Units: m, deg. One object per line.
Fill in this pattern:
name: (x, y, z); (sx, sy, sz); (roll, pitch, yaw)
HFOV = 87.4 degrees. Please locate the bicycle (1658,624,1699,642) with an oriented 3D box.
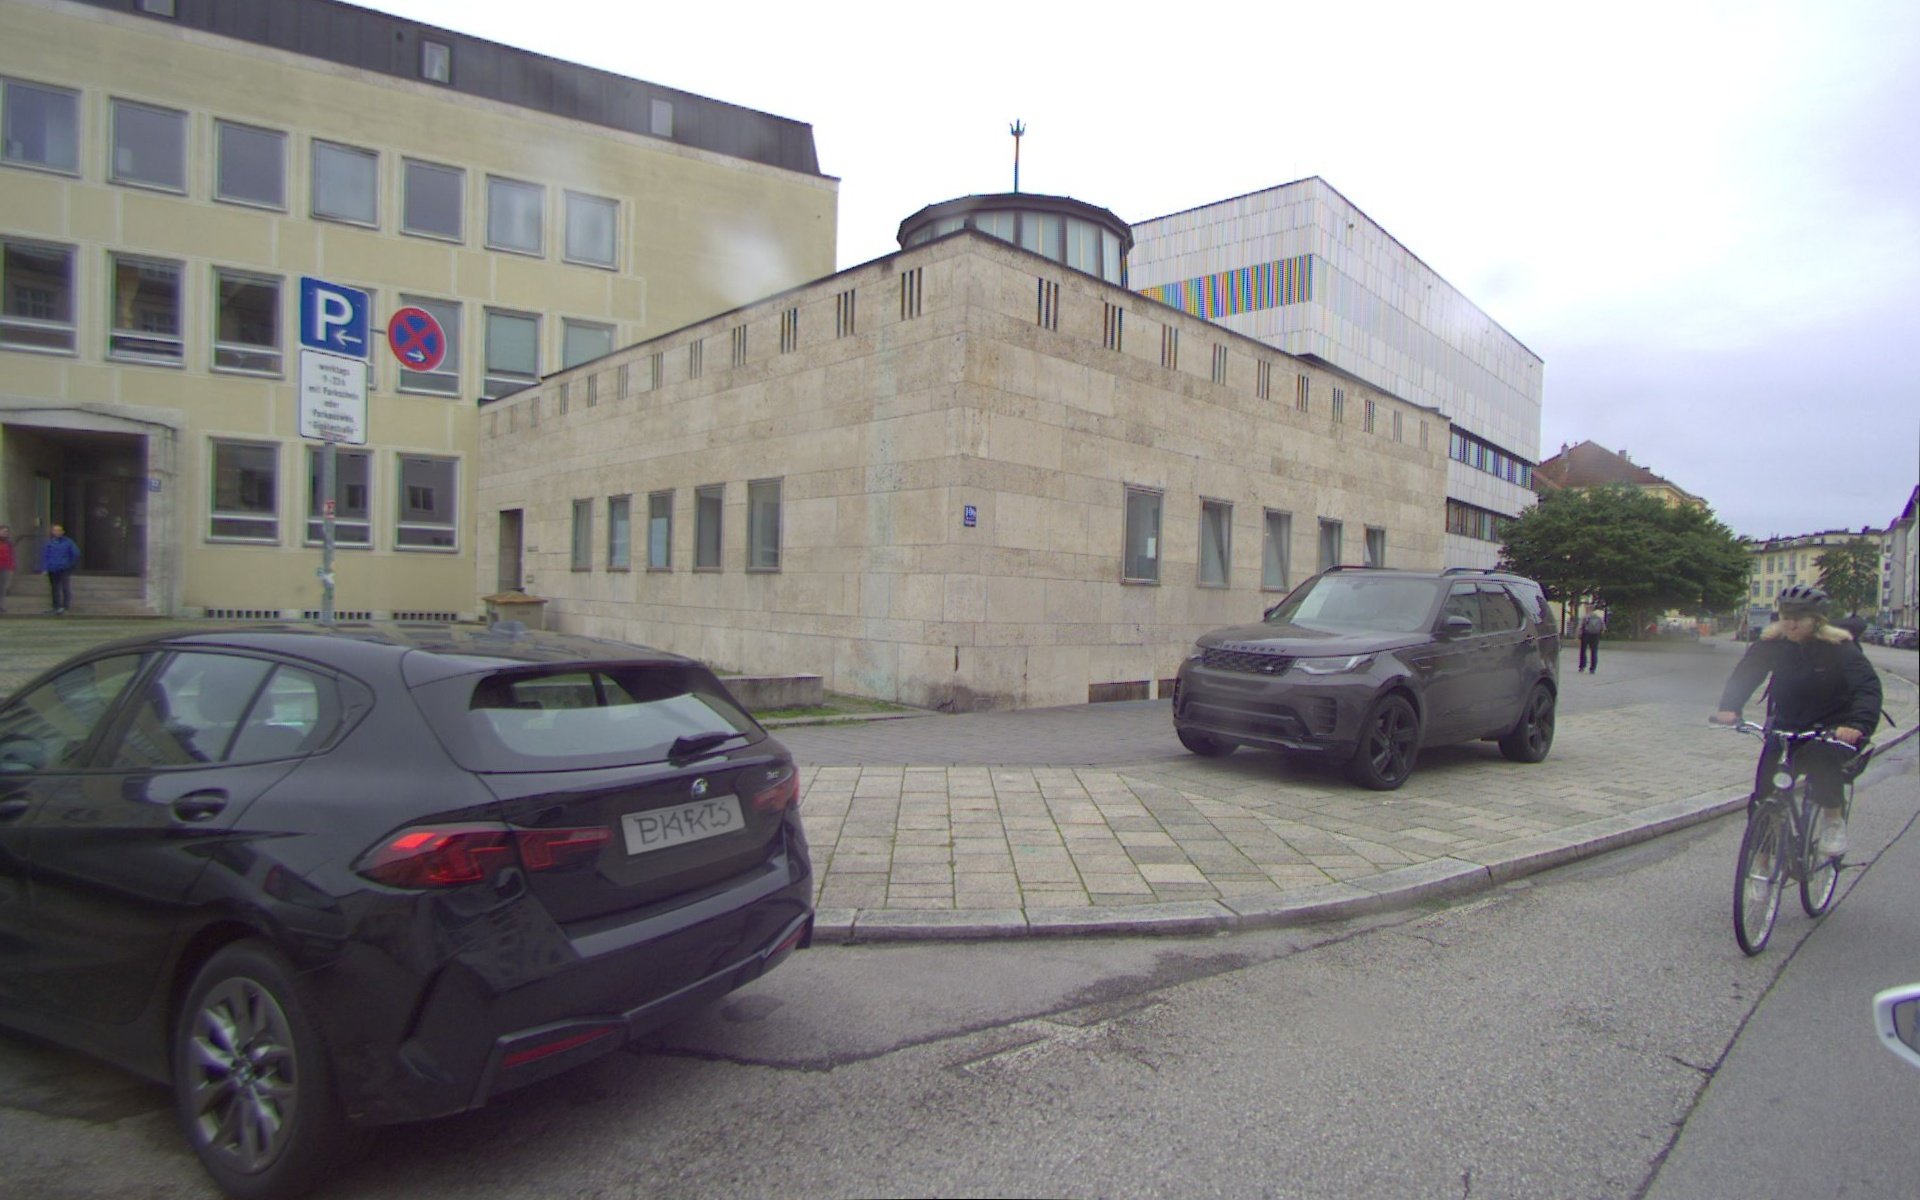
bicycle: (52.057, 2.399, 72.829); (0.577, 1.150, 2.287); (0, 3, -43)

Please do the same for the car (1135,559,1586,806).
car: (3.999, 0.604, 9.598); (4.775, 1.795, 1.977); (1, 1, -40)

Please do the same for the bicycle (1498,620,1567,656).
bicycle: (20.512, 1.353, 36.033); (2.020, 1.126, 0.614); (4, 3, 39)

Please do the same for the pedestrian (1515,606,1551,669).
pedestrian: (15.286, 0.999, 26.820); (0.632, 1.623, 0.606); (3, 2, 17)

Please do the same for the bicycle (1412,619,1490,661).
bicycle: (15.076, 1.207, 30.870); (0.612, 1.126, 2.025); (0, 3, -44)

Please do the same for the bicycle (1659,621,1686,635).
bicycle: (47.352, 1.855, 66.749); (1.356, 0.874, 0.437); (4, 3, 43)

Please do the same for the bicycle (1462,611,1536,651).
bicycle: (17.444, 0.998, 32.525); (2.018, 1.126, 0.614); (4, 3, 35)

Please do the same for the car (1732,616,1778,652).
car: (63.511, 2.726, 80.354); (2.389, 2.751, 5.935); (1, -1, 34)

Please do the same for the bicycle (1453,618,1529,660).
bicycle: (16.640, 1.205, 31.506); (2.018, 1.126, 0.614); (4, 3, 35)

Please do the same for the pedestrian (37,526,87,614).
pedestrian: (-18.496, -0.618, 20.701); (0.639, 1.768, 0.710); (1, 3, -32)

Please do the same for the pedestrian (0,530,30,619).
pedestrian: (-19.226, -0.524, 20.187); (0.639, 1.768, 0.710); (1, 3, -32)

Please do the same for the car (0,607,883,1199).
car: (-2.437, 0.743, 3.743); (3.931, 1.391, 1.749); (0, -2, 24)

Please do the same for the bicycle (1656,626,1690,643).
bicycle: (51.054, 2.474, 71.933); (0.536, 1.043, 1.848); (0, 3, -43)

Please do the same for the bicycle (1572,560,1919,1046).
bicycle: (4.086, 0.737, 4.842); (3.084, 1.745, 0.790); (0, -1, -36)

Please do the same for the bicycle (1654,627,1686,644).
bicycle: (50.223, 2.485, 71.077); (0.504, 1.047, 1.773); (0, 3, -43)

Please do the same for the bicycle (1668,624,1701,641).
bicycle: (54.871, 2.454, 76.078); (0.673, 1.107, 1.886); (0, 3, -43)

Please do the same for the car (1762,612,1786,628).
car: (98.754, 2.399, 121.845); (2.000, 1.643, 4.488); (4, 2, 37)

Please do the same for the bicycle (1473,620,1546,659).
bicycle: (18.559, 1.311, 33.940); (2.020, 1.126, 0.614); (4, 3, 39)

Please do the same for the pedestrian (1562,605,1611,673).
pedestrian: (16.869, 1.043, 27.054); (0.813, 1.763, 0.788); (1, 3, -37)

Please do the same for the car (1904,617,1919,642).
car: (68.431, 2.149, 70.701); (1.936, 1.623, 4.659); (4, 2, 32)

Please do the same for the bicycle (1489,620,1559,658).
bicycle: (19.678, 1.348, 35.067); (2.020, 1.126, 0.614); (4, 3, 39)

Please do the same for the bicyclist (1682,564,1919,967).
bicyclist: (4.196, 0.714, 4.938); (1.021, 1.740, 0.743); (0, 1, -35)
